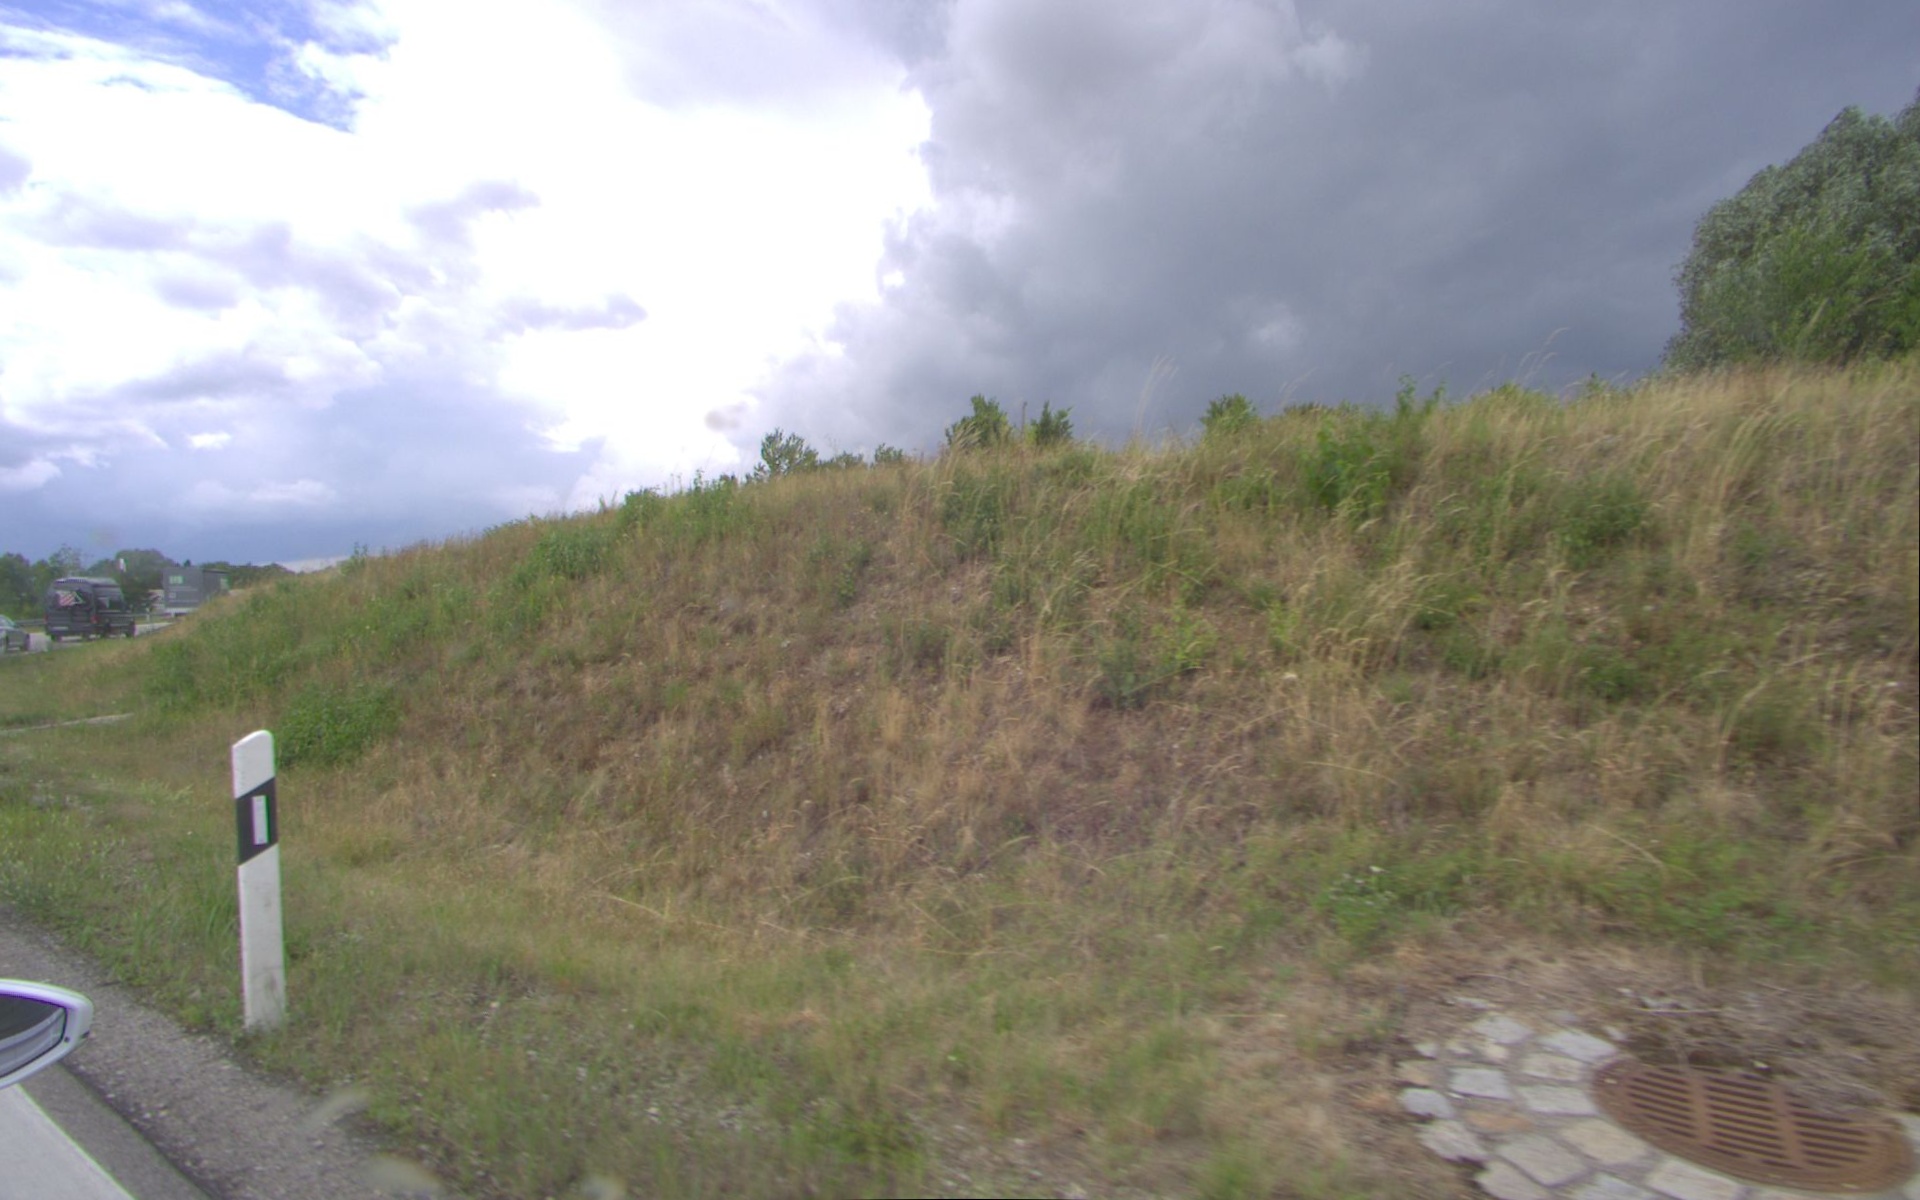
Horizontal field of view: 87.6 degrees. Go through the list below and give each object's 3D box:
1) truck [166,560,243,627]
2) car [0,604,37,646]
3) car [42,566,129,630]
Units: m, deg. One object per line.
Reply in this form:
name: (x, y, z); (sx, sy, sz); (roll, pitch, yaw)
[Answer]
truck: (-48.419, -0.332, 64.342); (2.197, 3.955, 6.005); (0, -2, -19)
car: (-36.513, 0.963, 37.539); (1.845, 1.529, 3.982); (0, -1, -29)
car: (-41.031, -0.022, 47.087); (2.079, 2.832, 3.984); (1, -2, -26)
